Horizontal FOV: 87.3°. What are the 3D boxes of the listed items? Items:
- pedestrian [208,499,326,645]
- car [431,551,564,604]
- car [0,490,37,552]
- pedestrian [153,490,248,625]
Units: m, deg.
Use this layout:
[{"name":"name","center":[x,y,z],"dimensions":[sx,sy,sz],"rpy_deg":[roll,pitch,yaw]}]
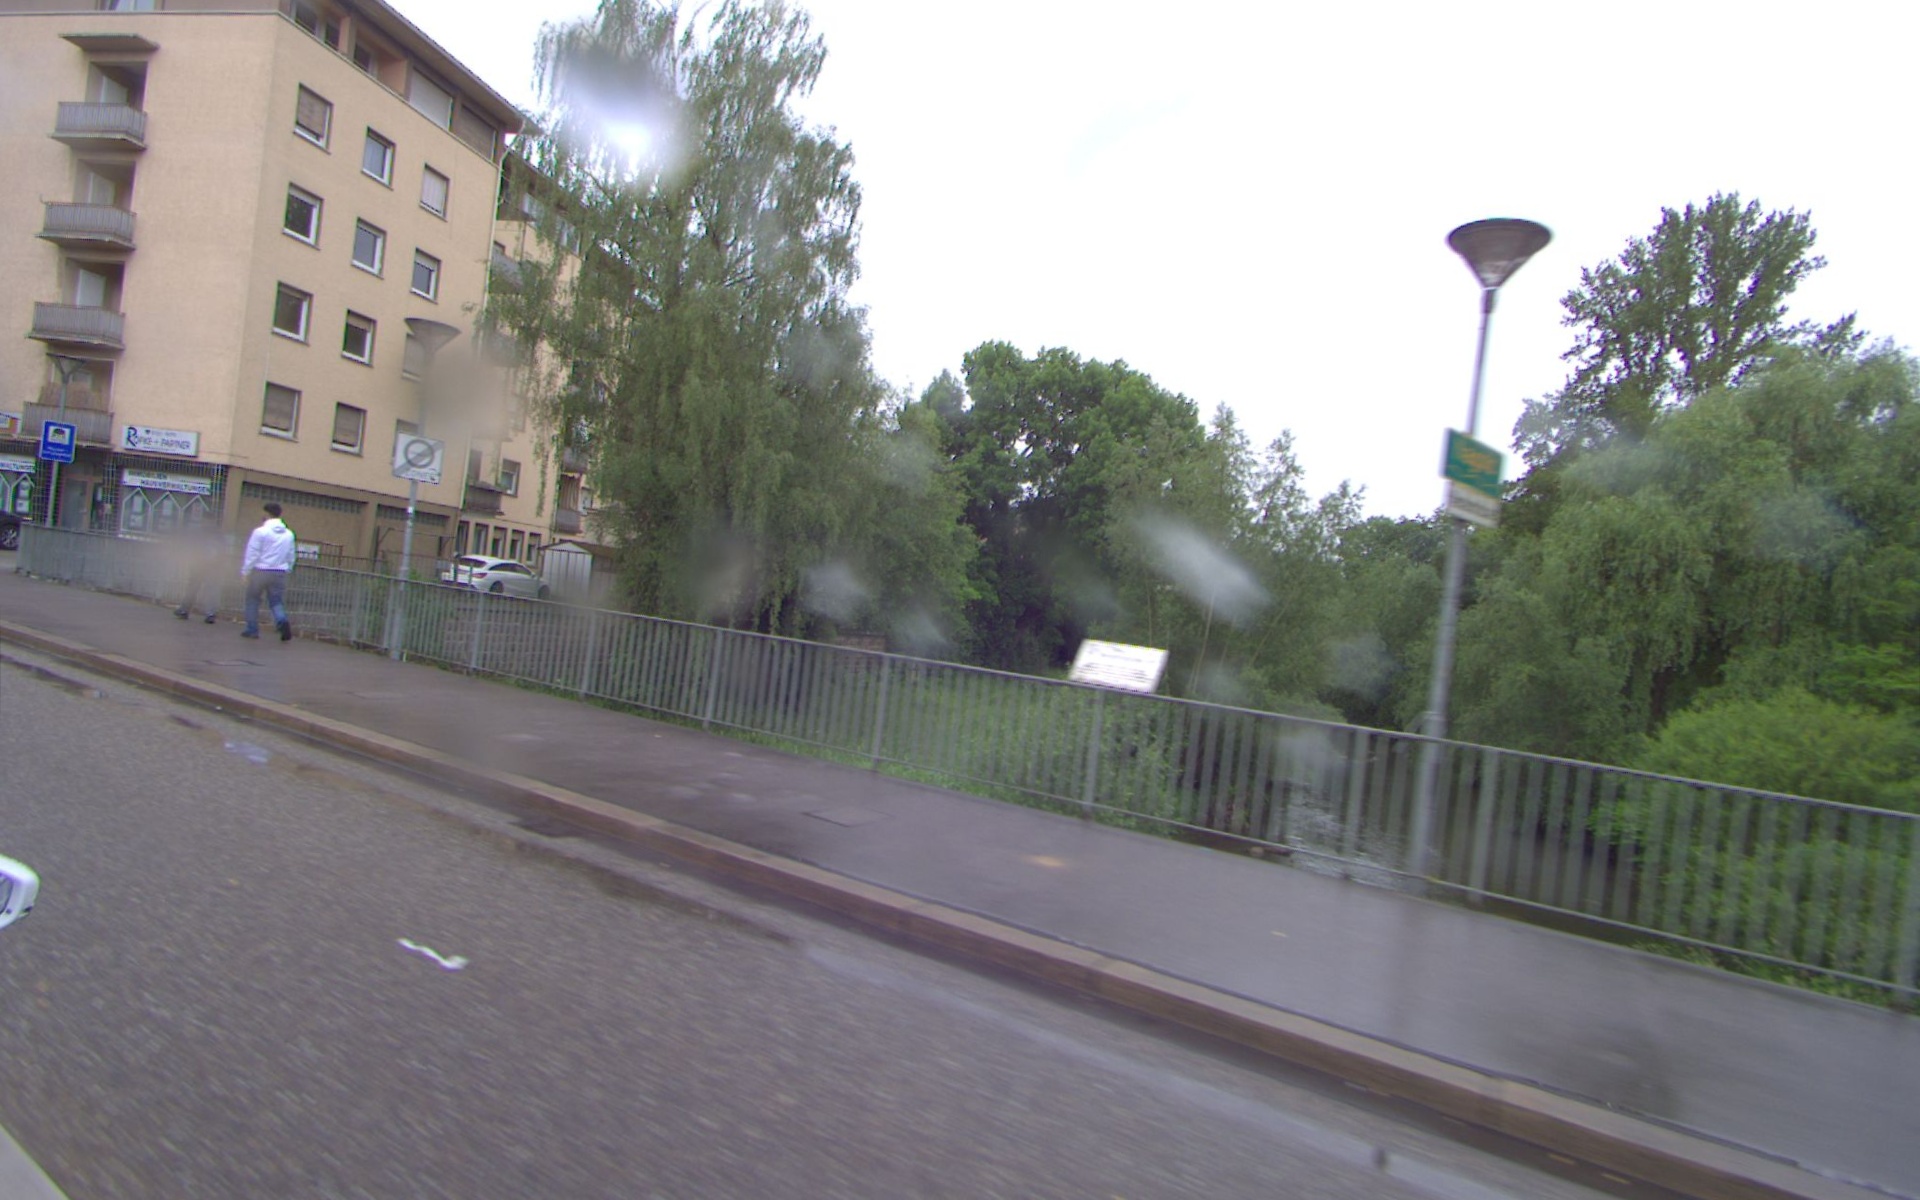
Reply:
[{"name":"pedestrian","center":[-9.100,-0.360,13.213],"dimensions":[1.043,1.774,0.780],"rpy_deg":[7,0,31]},{"name":"car","center":[-16.550,-0.771,36.248],"dimensions":[1.782,1.393,4.455],"rpy_deg":[9,0,15]},{"name":"car","center":[-27.733,-2.317,26.843],"dimensions":[1.847,1.670,4.381],"rpy_deg":[6,0,6]},{"name":"pedestrian","center":[-11.009,-0.607,14.586],"dimensions":[0.768,1.832,0.761],"rpy_deg":[7,1,31]}]
